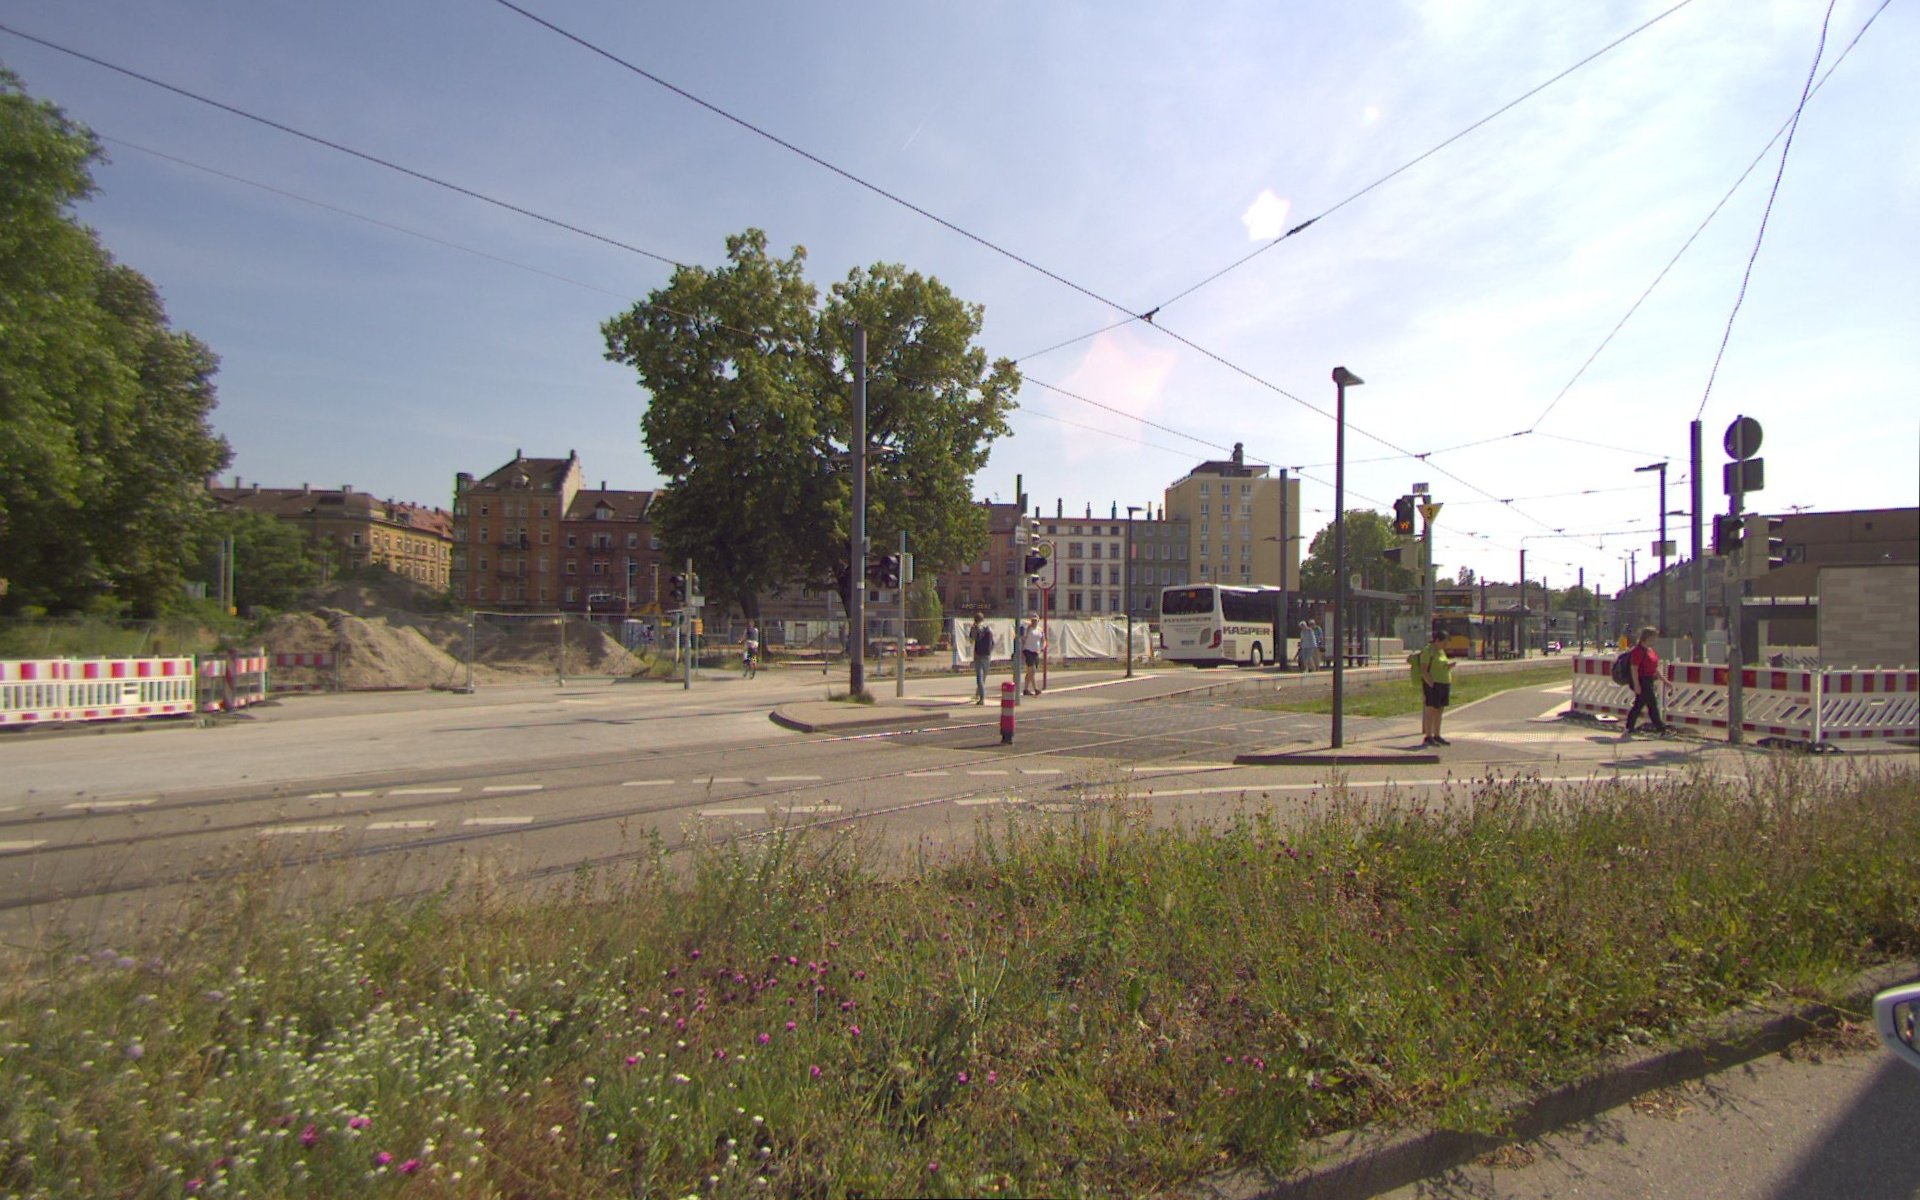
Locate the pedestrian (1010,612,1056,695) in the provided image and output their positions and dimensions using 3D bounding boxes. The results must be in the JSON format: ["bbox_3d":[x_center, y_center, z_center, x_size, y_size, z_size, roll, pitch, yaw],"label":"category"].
[{"bbox_3d":[1.639,1.201,22.664,0.829,1.836,0.646,0,-1,-22],"label":"pedestrian"}]

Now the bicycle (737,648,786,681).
[{"bbox_3d":[-6.183,1.987,31.233,0.755,0.935,2.050,1,-2,-35],"label":"bicycle"}]

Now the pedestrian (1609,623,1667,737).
[{"bbox_3d":[10.019,1.165,14.847,0.676,1.637,0.349,-1,-2,39],"label":"pedestrian"}]

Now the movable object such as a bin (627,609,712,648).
[{"bbox_3d":[-23.359,2.331,80.691,6.453,3.049,2.572,1,-2,-20],"label":"movable object such as a bin"}]

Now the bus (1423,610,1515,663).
[{"bbox_3d":[35.457,2.538,69.618,2.820,3.324,12.598,-1,-2,40],"label":"bus"}]

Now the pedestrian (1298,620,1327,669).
[{"bbox_3d":[11.793,1.474,33.624,0.579,1.637,0.683,0,-1,-32],"label":"pedestrian"}]

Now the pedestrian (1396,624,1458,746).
[{"bbox_3d":[6.301,1.124,13.558,0.657,1.564,0.422,2,2,36],"label":"pedestrian"}]

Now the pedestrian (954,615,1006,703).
[{"bbox_3d":[0.405,1.172,20.366,0.924,1.735,0.554,0,-1,-26],"label":"pedestrian"}]

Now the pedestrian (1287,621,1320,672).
[{"bbox_3d":[11.191,1.491,32.696,0.655,1.637,0.787,0,-1,-33],"label":"pedestrian"}]

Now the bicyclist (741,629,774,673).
[{"bbox_3d":[-6.390,1.594,31.647,0.613,1.378,1.162,1,-2,-35],"label":"bicyclist"}]

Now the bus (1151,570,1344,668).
[{"bbox_3d":[12.349,0.900,41.891,2.820,3.535,12.598,-1,-3,40],"label":"bus"}]
